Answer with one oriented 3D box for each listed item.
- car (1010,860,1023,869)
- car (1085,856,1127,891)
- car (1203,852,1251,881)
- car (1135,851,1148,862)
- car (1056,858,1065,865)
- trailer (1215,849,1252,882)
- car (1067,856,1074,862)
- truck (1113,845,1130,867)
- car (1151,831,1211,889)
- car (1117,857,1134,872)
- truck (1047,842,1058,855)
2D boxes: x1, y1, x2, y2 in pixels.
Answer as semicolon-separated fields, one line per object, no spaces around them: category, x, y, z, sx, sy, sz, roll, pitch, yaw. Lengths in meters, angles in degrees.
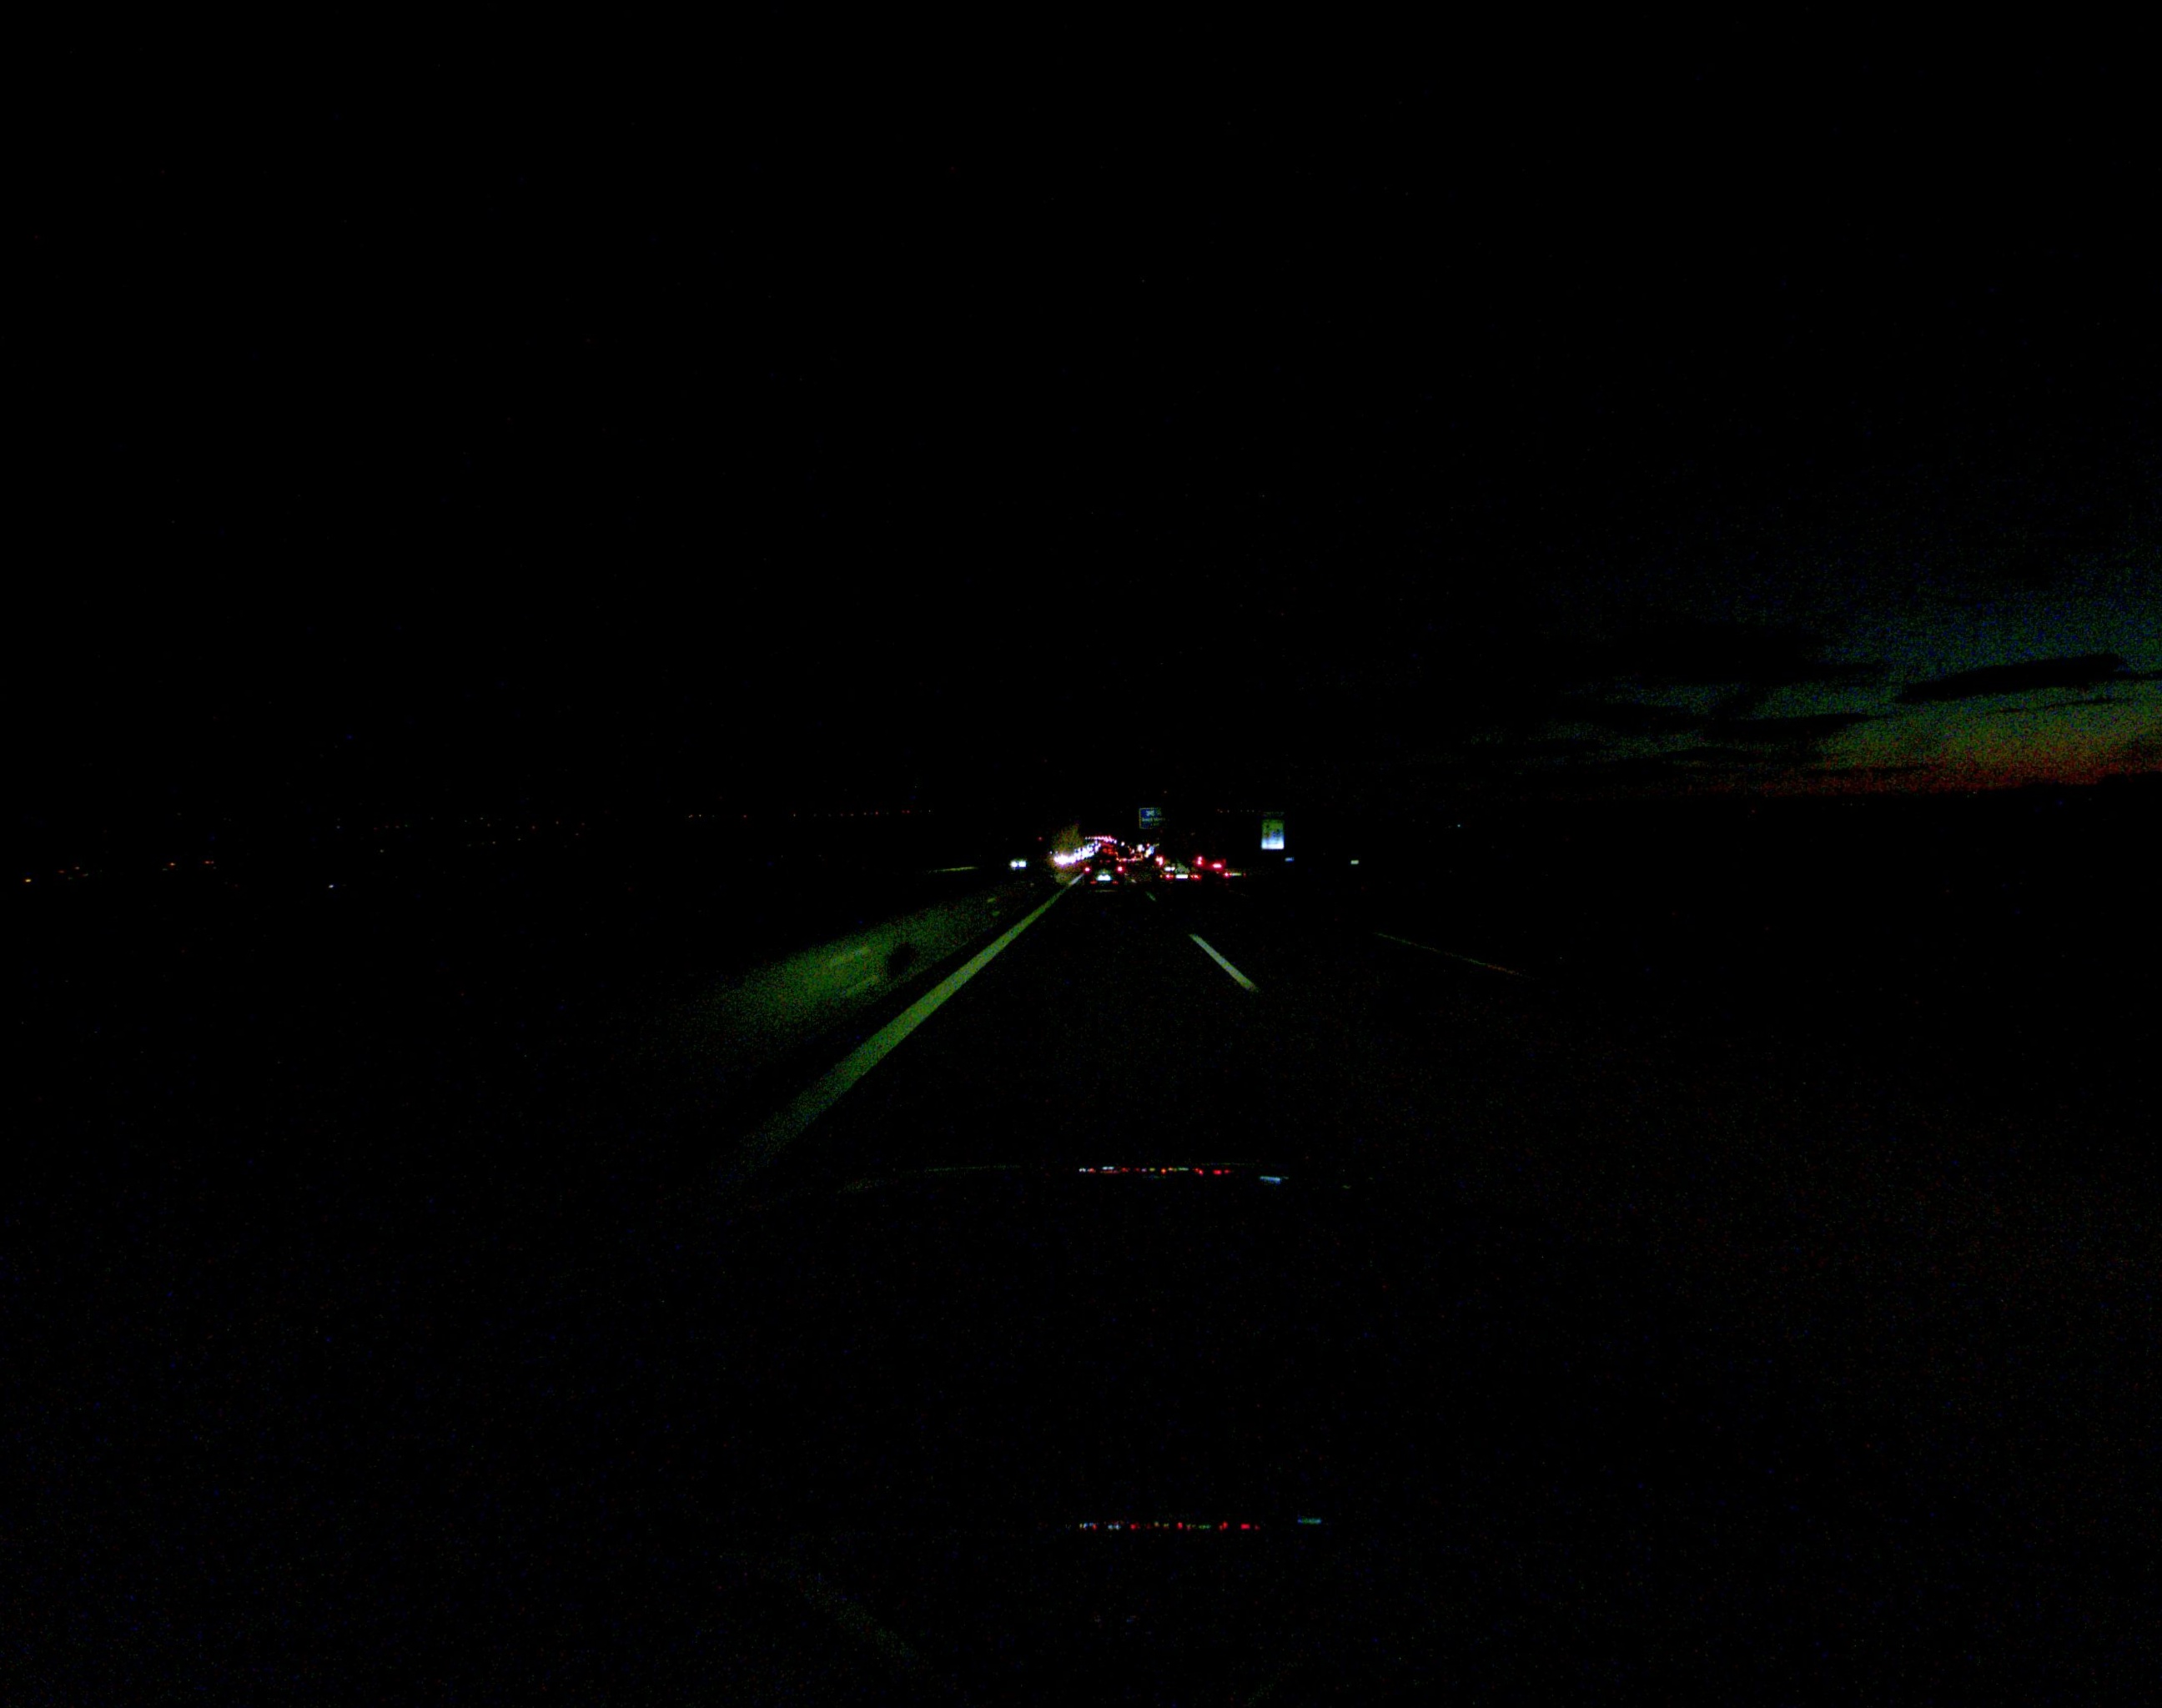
car;-12.190;1.923;154.597;1.987;1.478;5.045;-4;0;1
car;1.160;0.834;37.167;1.787;1.469;3.775;-1;0;2
car;8.567;0.711;48.282;2.154;1.563;4.725;-1;0;2
car;12.719;0.495;171.173;2.342;2.076;4.725;-2;0;2
car;-5.299;1.877;210.636;1.805;1.643;4.159;-2;0;2
trailer;8.314;0.622;44.664;1.560;1.693;2.822;-2;0;2
car;-2.798;1.408;221.274;1.805;1.643;4.159;-2;0;2
truck;7.800;0.376;156.595;2.772;3.955;7.992;-2;0;0
car;4.758;0.258;39.501;2.342;2.535;5.704;-2;0;2
car;6.380;1.503;117.075;2.342;1.914;4.725;-2;0;2
truck;-8.981;-1.581;257.415;2.772;3.955;7.992;-2;0;0
